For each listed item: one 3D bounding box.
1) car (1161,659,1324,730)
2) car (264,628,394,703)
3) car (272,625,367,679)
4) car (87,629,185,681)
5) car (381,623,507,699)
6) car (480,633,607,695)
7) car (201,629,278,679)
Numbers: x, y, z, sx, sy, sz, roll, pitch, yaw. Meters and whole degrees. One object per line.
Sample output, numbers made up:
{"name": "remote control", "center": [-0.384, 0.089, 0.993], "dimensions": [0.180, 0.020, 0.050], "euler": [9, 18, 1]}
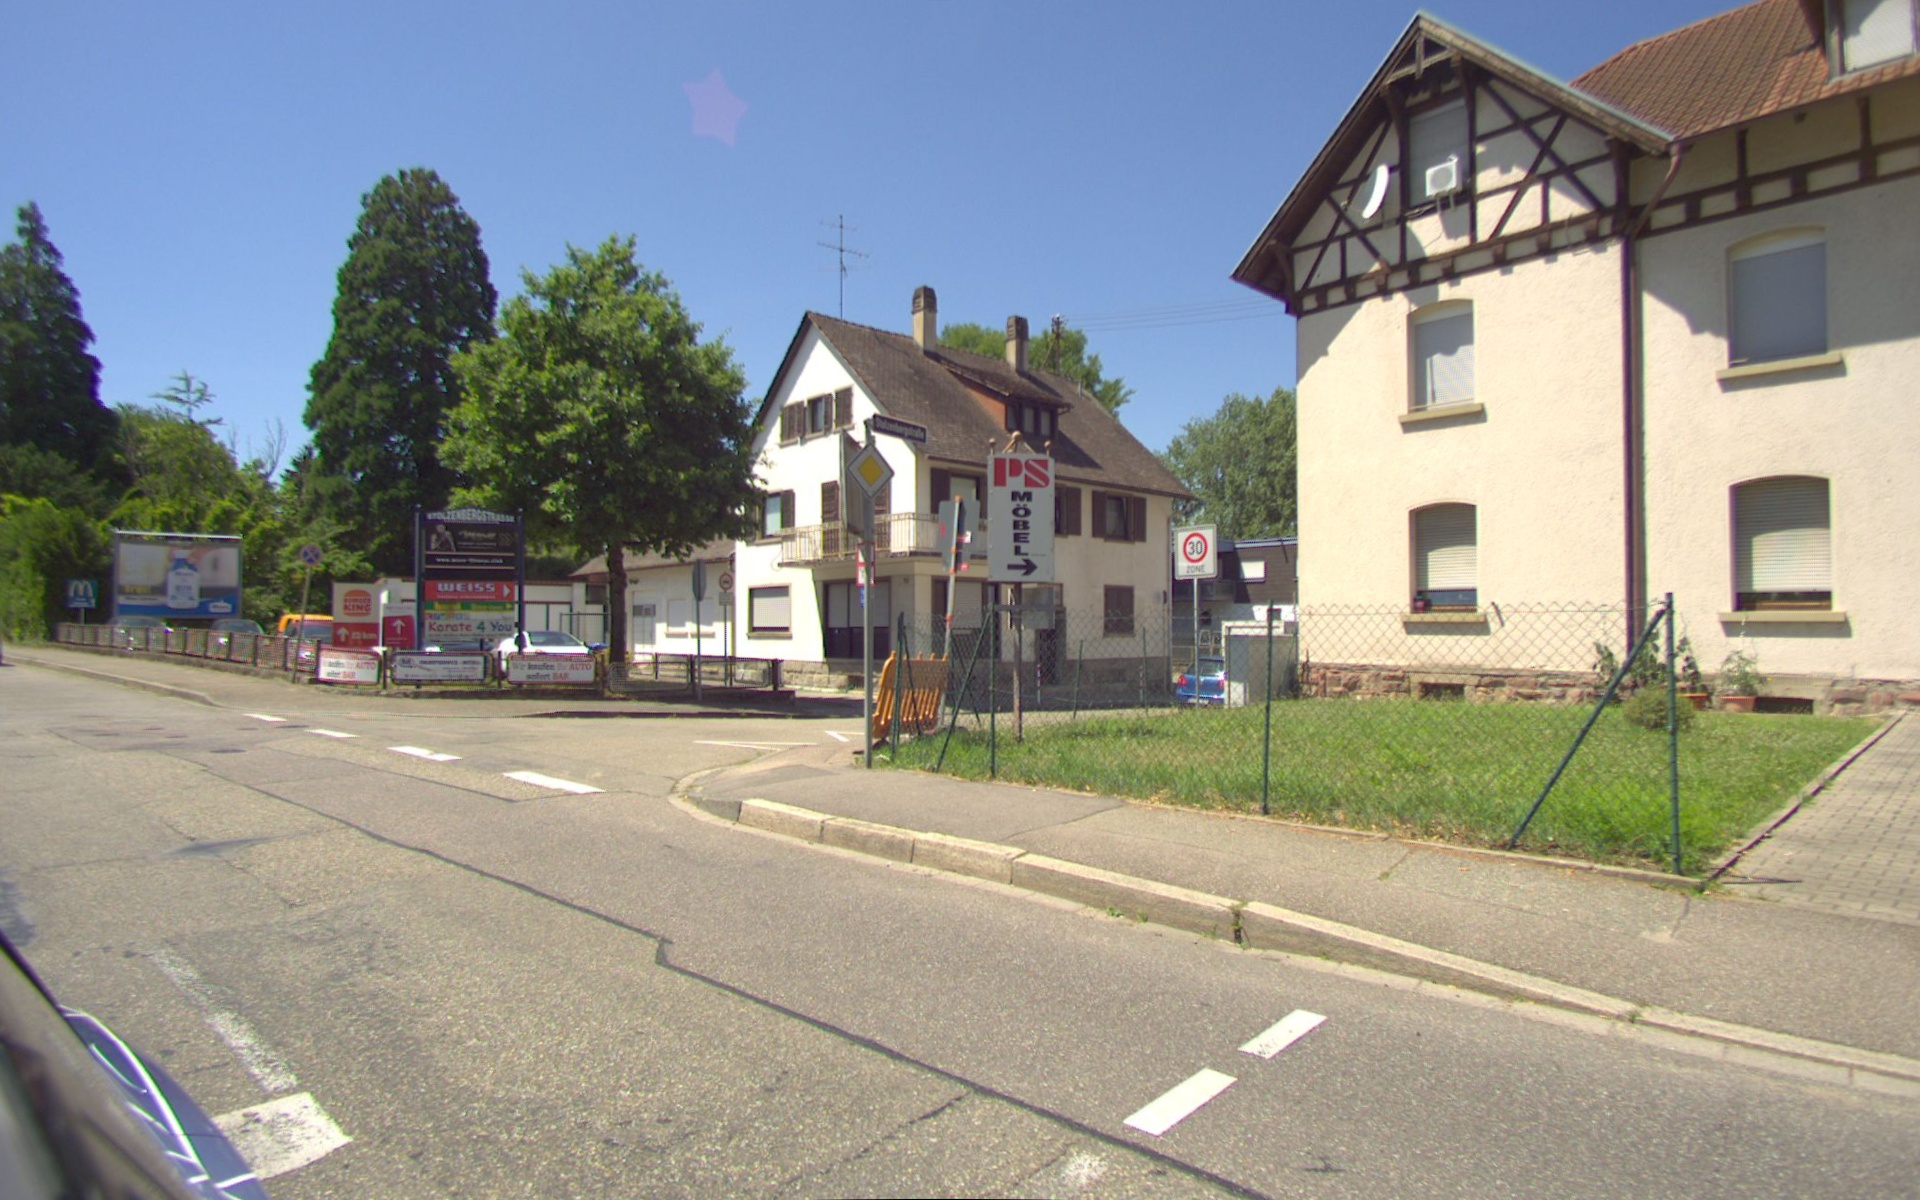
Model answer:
{"name": "car", "center": [6.517, 2.095, 23.180], "dimensions": [3.939, 1.445, 1.802], "euler": [3, -3, -43]}
{"name": "car", "center": [-14.860, 1.468, 23.742], "dimensions": [1.773, 1.530, 4.003], "euler": [2, -2, -44]}
{"name": "car", "center": [-23.757, 1.871, 37.476], "dimensions": [3.996, 1.755, 1.776], "euler": [1, -1, 39]}
{"name": "car", "center": [-27.801, 1.805, 34.103], "dimensions": [3.996, 1.529, 1.776], "euler": [1, -1, 39]}
{"name": "car", "center": [-13.099, 1.456, 25.548], "dimensions": [1.772, 1.691, 4.631], "euler": [2, -2, -41]}
{"name": "car", "center": [-11.111, 1.633, 26.869], "dimensions": [1.773, 1.445, 4.003], "euler": [2, -2, -44]}
{"name": "car", "center": [-25.844, 1.887, 36.265], "dimensions": [1.772, 1.529, 4.005], "euler": [2, -1, -42]}
